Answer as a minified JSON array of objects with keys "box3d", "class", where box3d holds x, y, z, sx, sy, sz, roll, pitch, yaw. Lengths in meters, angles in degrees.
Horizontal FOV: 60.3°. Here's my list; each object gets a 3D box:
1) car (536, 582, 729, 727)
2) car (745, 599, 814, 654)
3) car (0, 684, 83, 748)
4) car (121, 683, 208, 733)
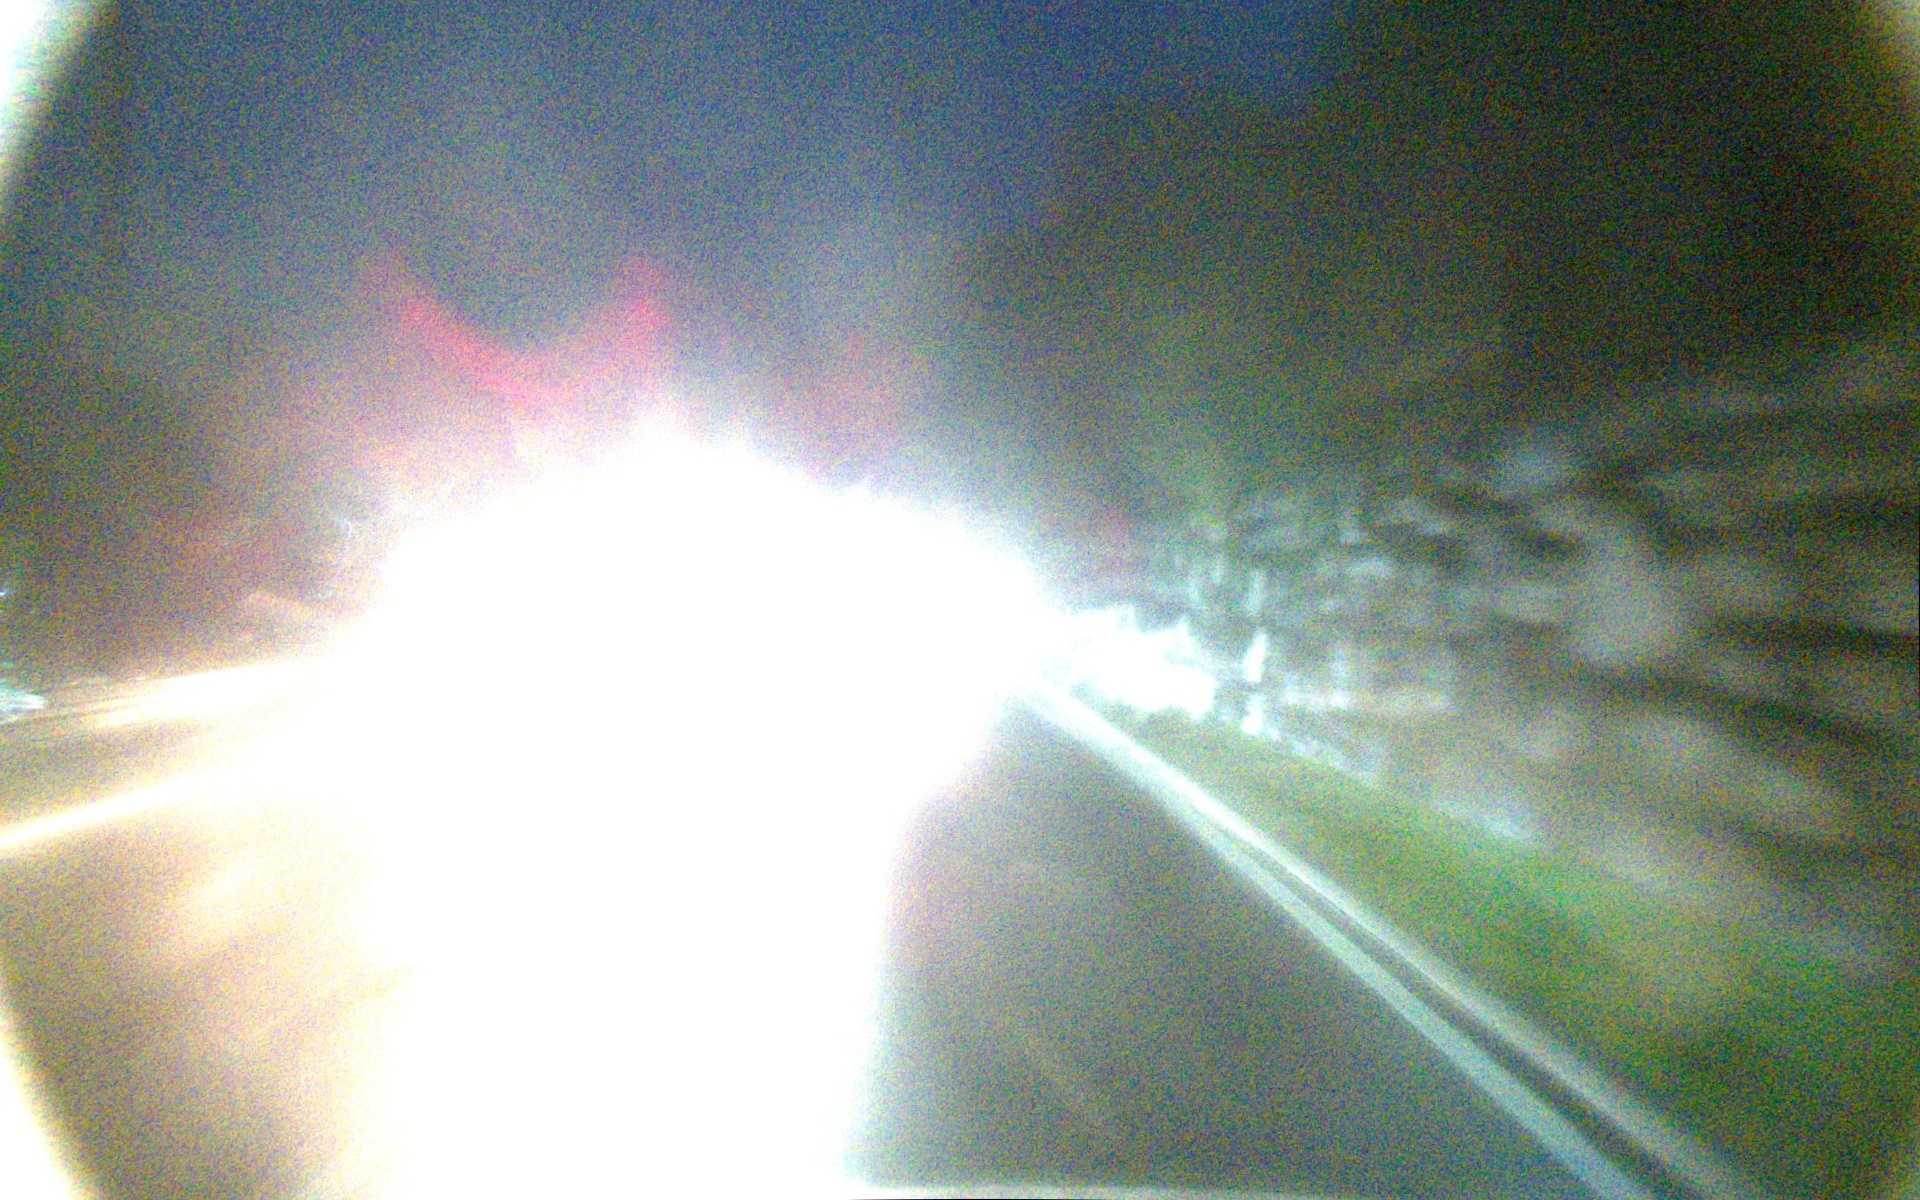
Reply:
[{"box3d":[-3.793,0.588,19.704,1.603,1.546,3.769,-1,0,-1],"class":"car"},{"box3d":[-5.168,0.747,47.670,1.750,1.505,3.678,1,0,-3],"class":"car"},{"box3d":[-29.439,3.625,52.238,1.775,1.705,4.283,1,0,-9],"class":"car"},{"box3d":[-29.869,4.041,62.239,1.775,1.597,4.283,1,0,-9],"class":"car"}]
